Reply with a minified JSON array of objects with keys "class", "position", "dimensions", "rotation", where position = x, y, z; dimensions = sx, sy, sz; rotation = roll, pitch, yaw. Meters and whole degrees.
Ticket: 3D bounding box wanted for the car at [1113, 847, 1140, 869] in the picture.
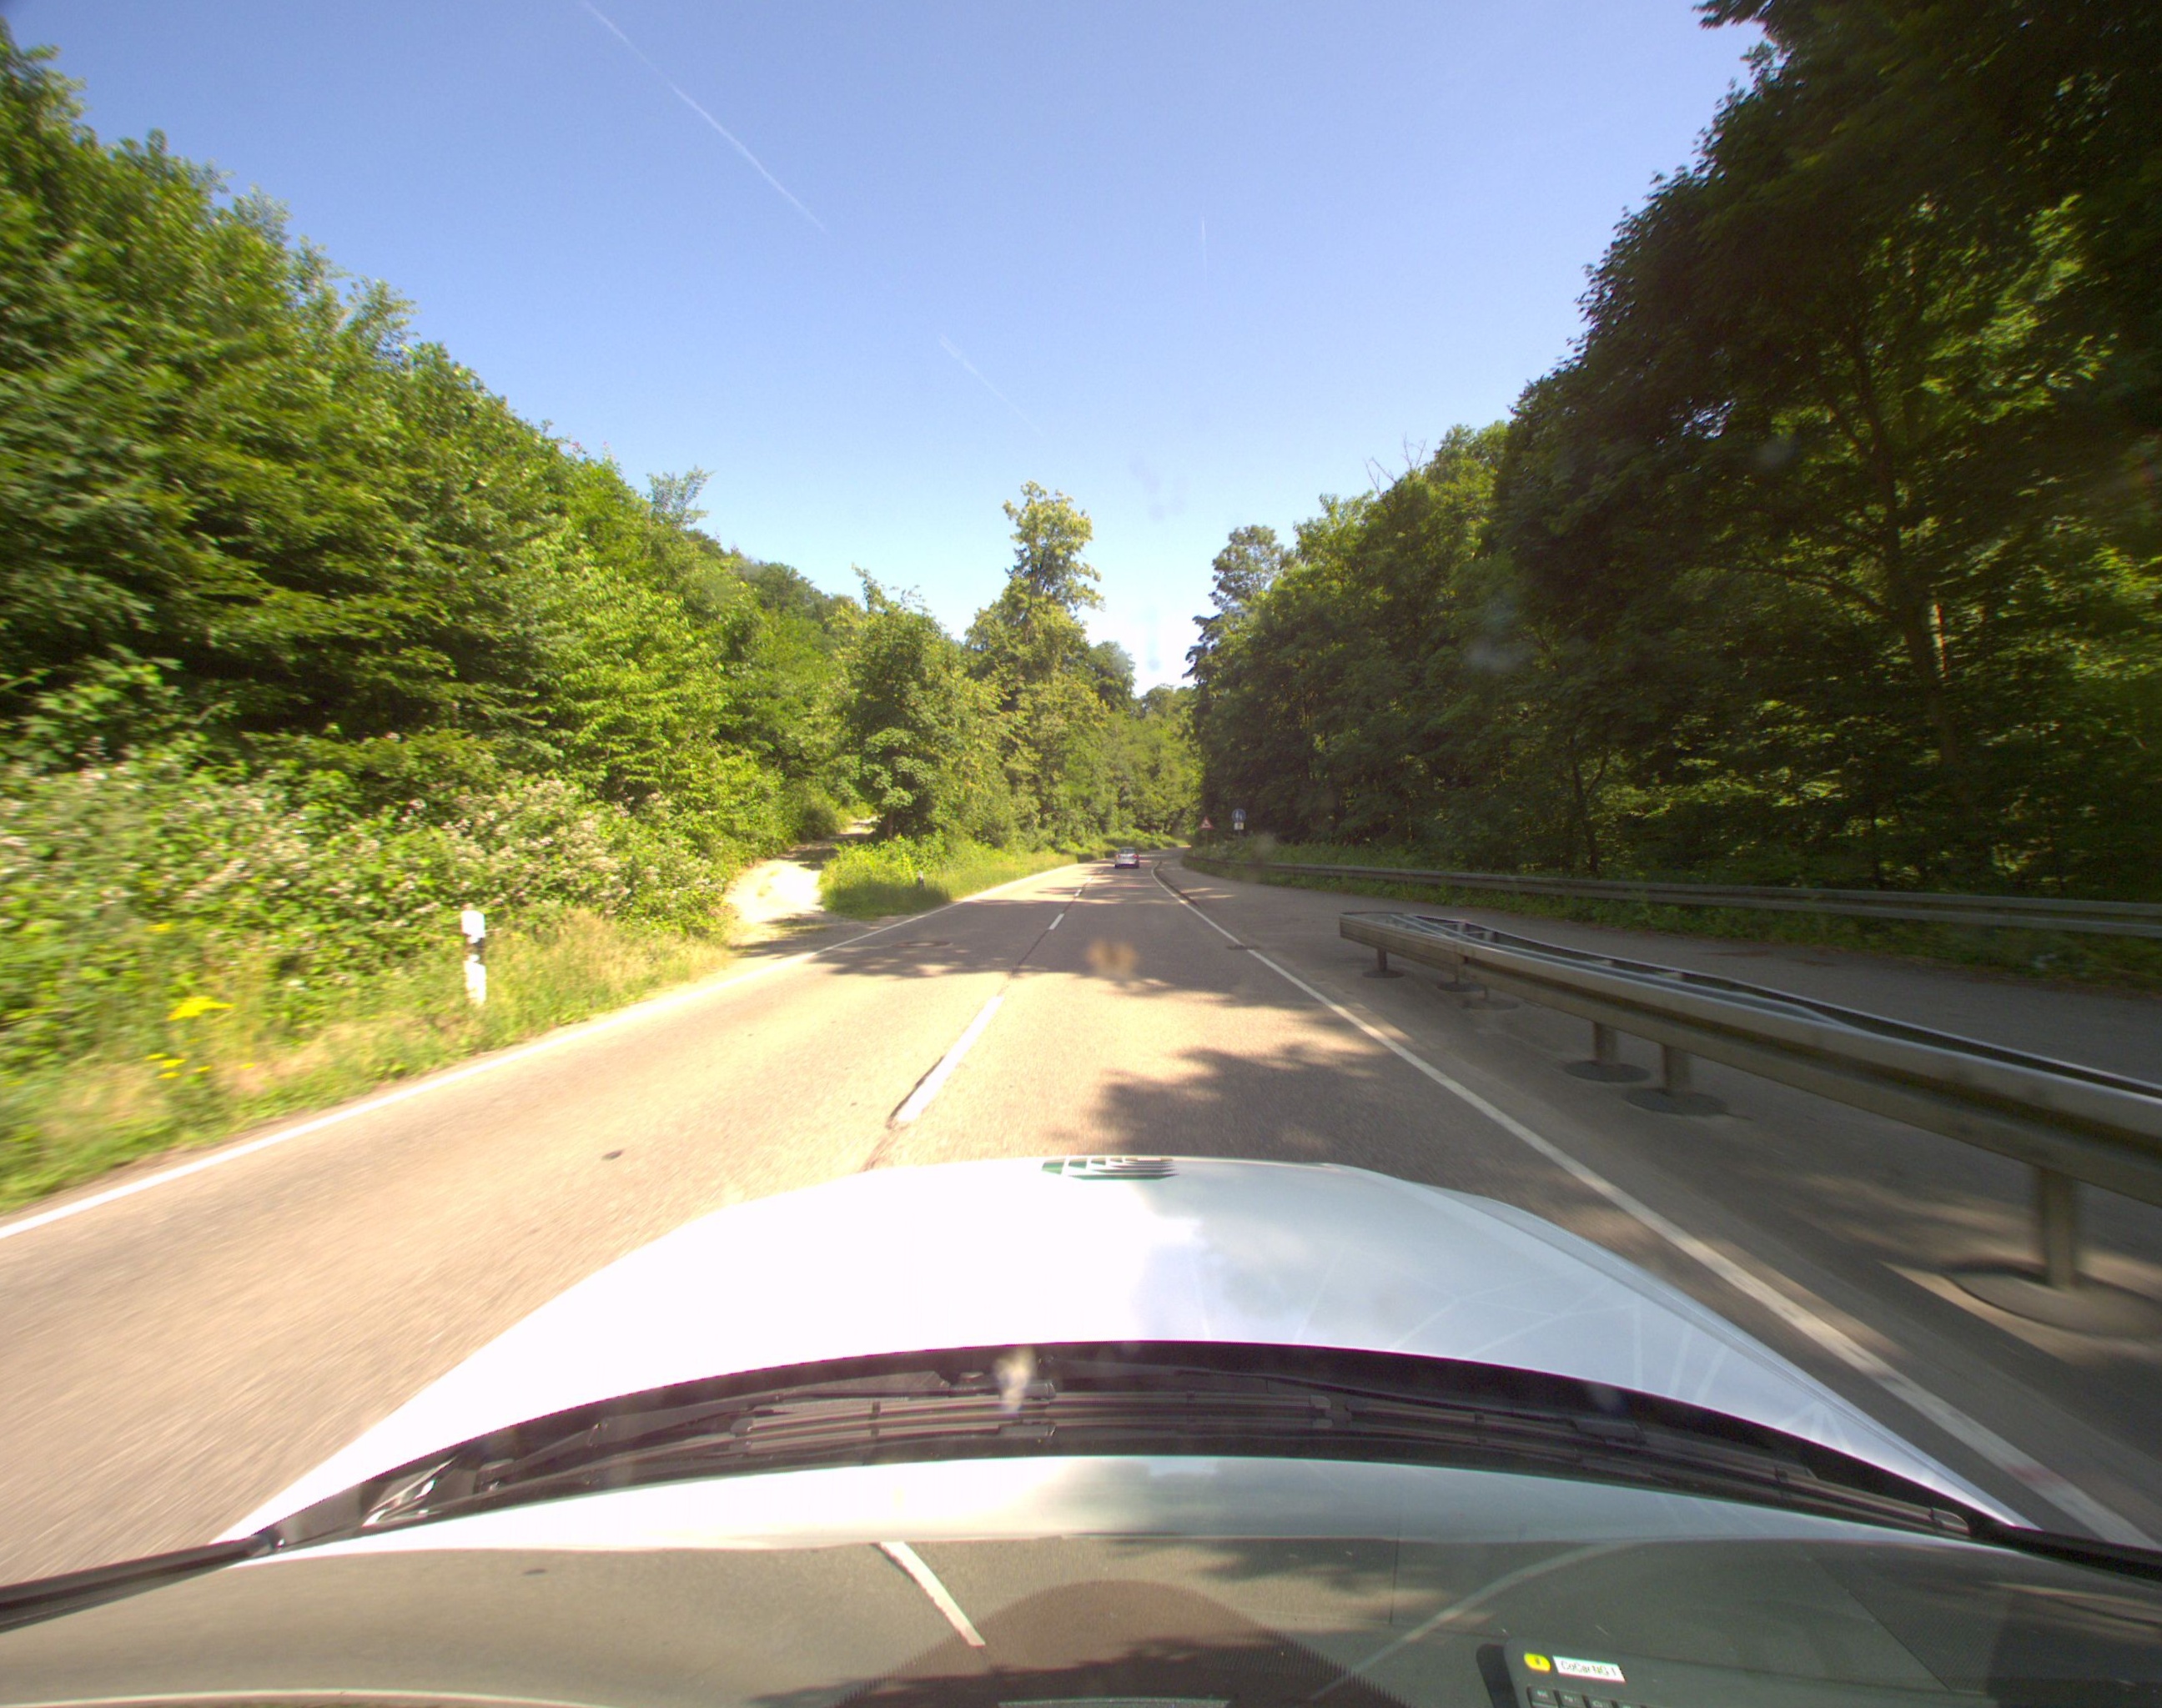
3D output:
[{"class":"car","position":[3.387,0.250,59.832],"dimensions":[1.742,1.520,4.167],"rotation":[0,1,7]}]
